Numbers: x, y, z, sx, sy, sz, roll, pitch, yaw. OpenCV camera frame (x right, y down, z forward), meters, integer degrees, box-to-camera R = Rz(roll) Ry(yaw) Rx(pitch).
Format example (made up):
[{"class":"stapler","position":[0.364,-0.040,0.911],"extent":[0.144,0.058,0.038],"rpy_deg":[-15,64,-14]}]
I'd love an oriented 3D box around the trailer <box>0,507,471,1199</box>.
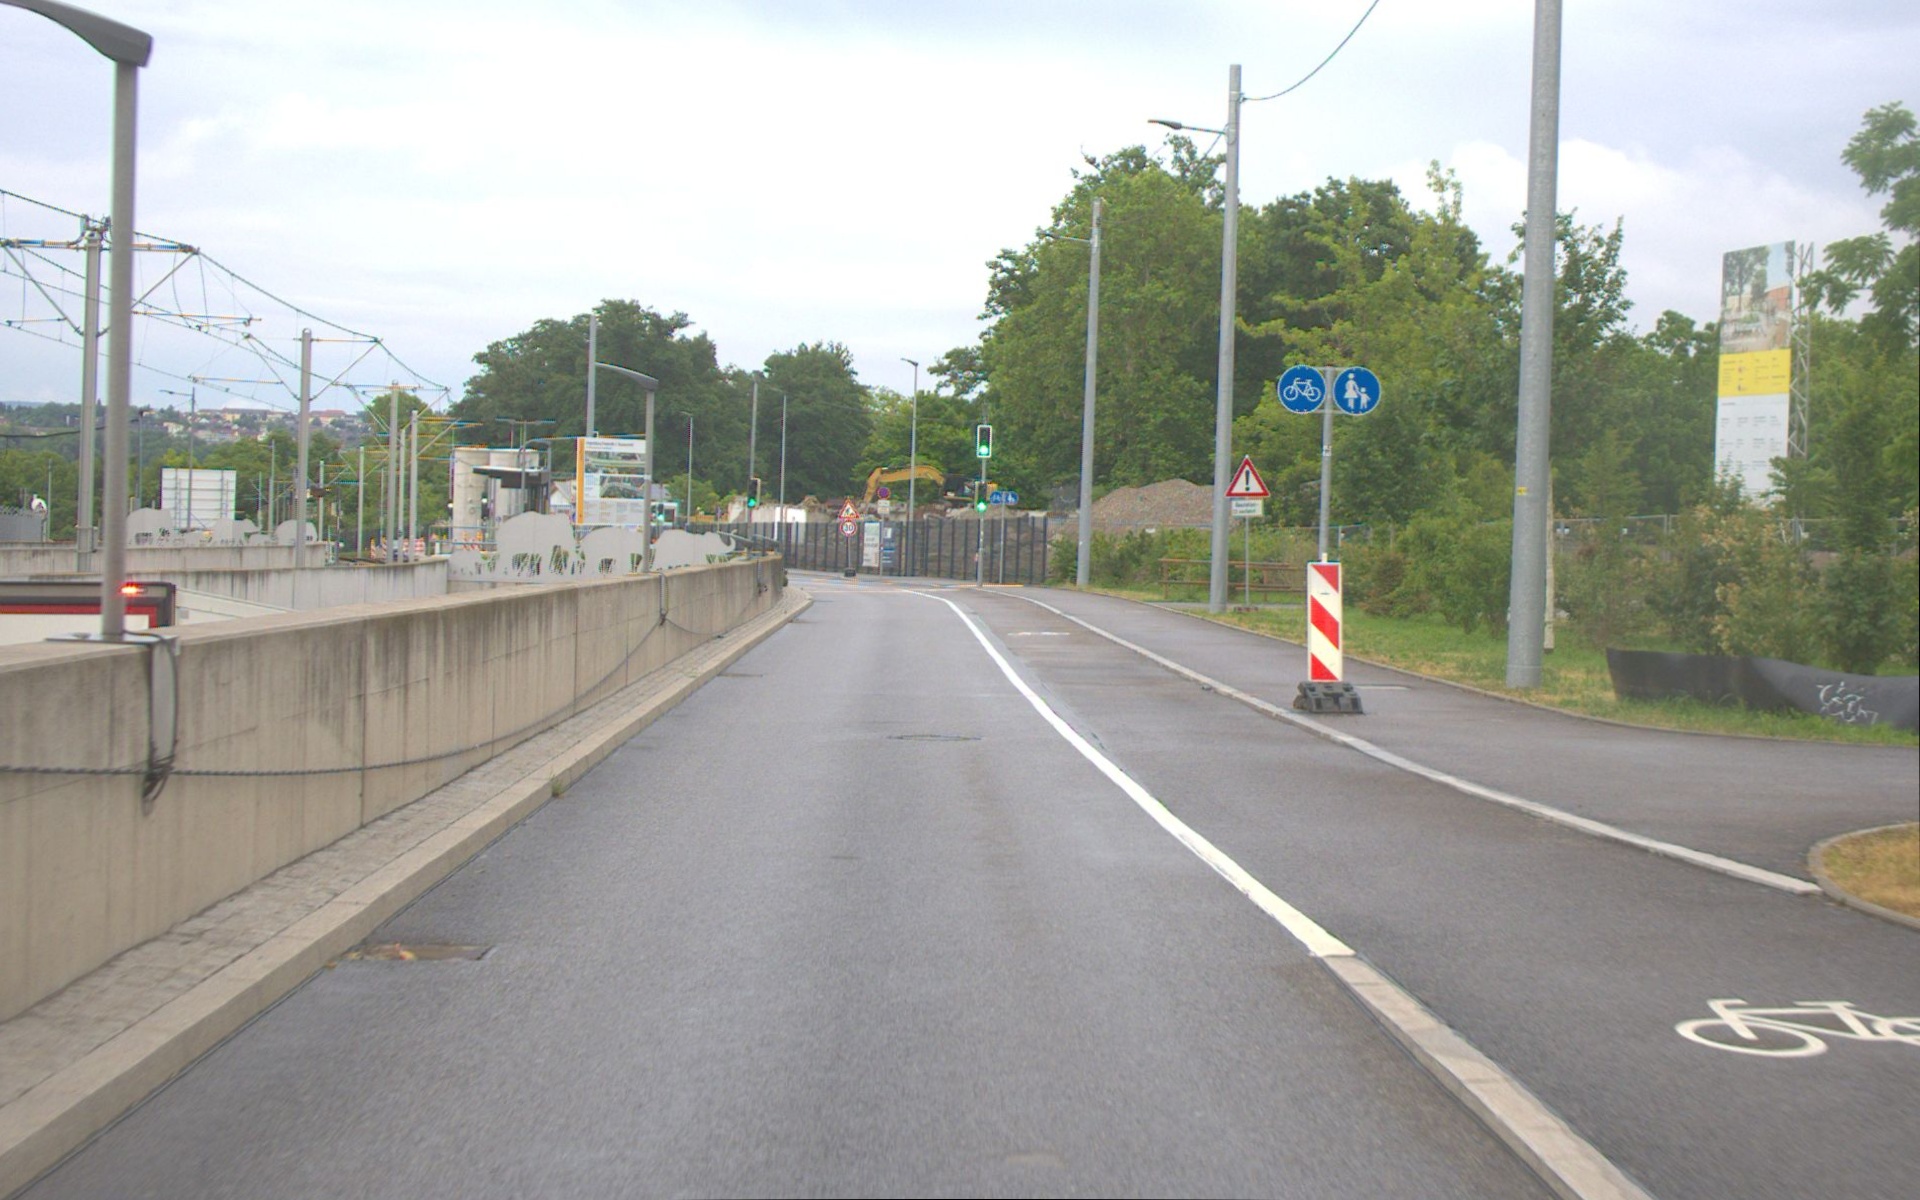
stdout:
[{"class":"trailer","position":[-5.924,1.448,25.748],"extent":[2.762,4.238,13.184],"rpy_deg":[0,1,-1]}]
